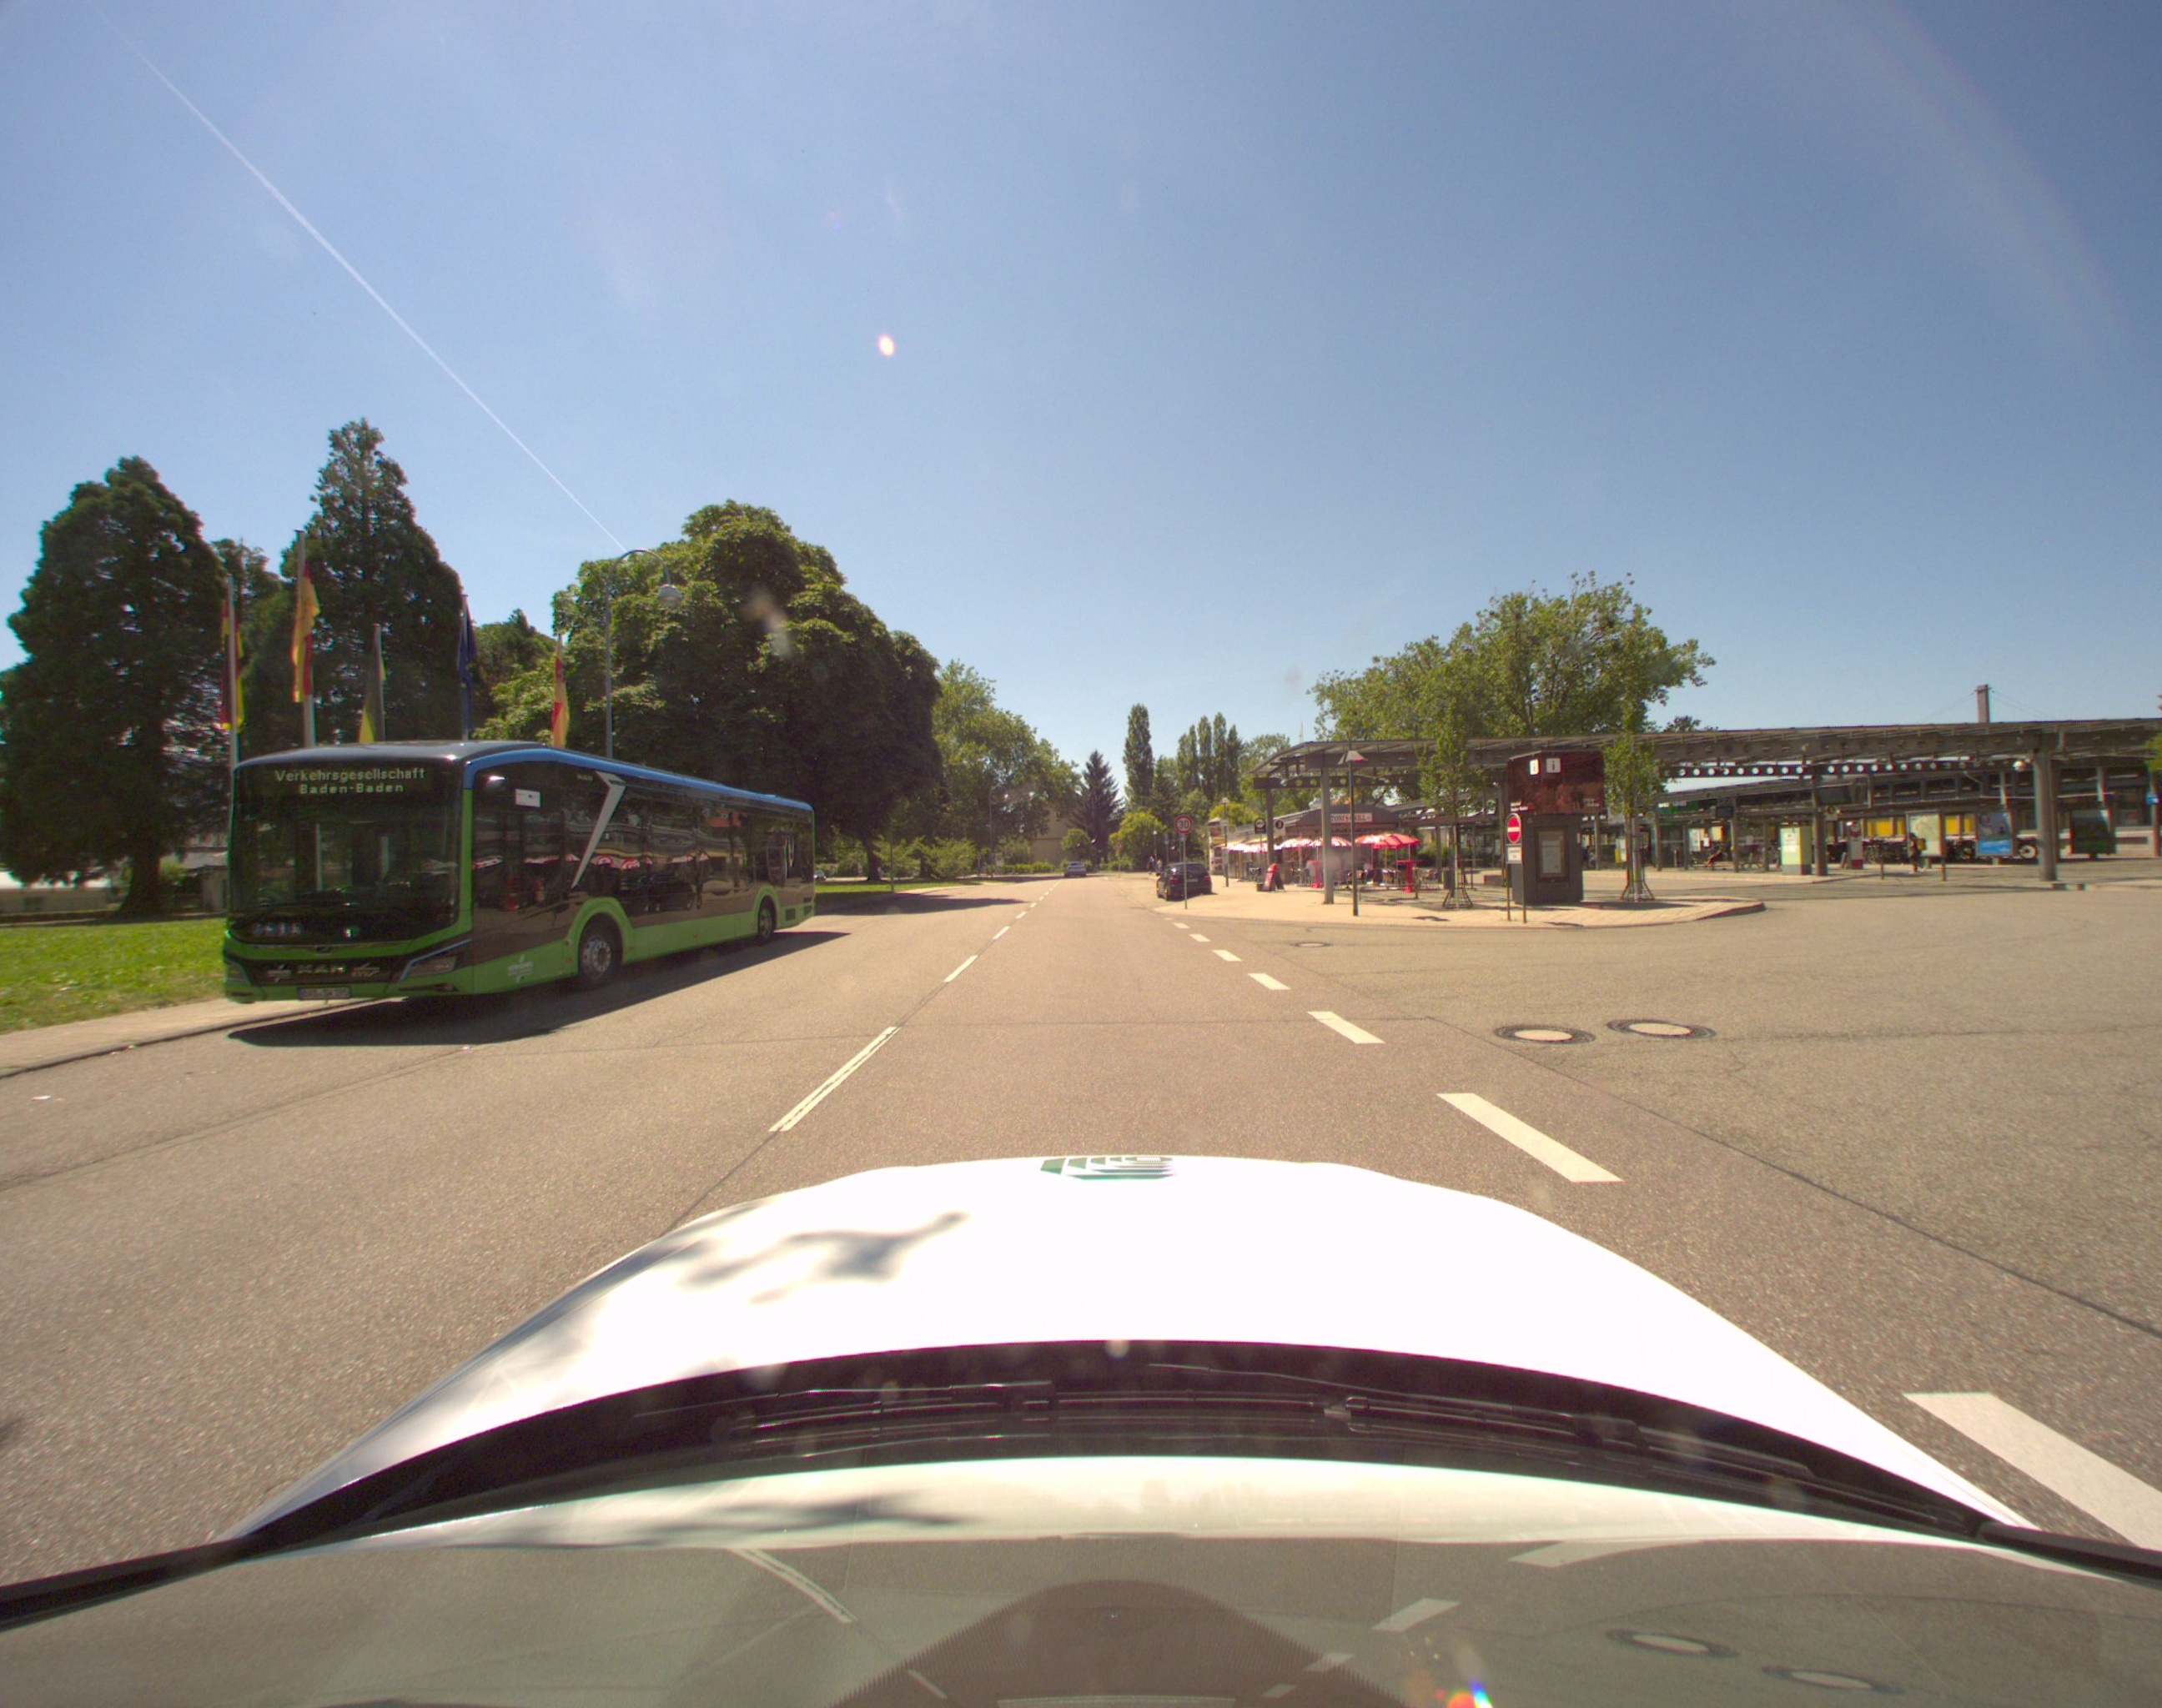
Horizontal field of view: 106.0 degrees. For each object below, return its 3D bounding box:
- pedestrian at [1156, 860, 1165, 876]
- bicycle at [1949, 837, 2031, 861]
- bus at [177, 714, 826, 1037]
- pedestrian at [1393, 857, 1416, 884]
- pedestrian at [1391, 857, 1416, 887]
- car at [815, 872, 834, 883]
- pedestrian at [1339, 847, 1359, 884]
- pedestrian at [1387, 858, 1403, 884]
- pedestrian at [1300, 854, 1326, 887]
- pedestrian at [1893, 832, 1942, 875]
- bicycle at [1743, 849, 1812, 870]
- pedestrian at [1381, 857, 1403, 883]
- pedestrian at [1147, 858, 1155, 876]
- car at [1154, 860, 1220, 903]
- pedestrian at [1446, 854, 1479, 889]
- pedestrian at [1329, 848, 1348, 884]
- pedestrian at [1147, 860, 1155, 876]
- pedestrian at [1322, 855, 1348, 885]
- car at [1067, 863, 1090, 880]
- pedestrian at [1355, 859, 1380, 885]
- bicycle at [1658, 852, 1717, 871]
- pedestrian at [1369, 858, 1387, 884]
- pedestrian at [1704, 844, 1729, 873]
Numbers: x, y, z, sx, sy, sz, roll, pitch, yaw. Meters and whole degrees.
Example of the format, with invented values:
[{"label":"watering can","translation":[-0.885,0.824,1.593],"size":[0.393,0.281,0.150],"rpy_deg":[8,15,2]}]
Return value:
[{"label":"pedestrian","translation":[8.608,1.529,88.621],"size":[0.713,1.650,0.755],"rpy_deg":[-2,-3,28]},{"label":"bicycle","translation":[41.740,-0.224,37.416],"size":[2.780,1.004,0.966],"rpy_deg":[1,-2,-3]},{"label":"bus","translation":[-7.957,0.264,14.661],"size":[2.800,3.283,12.421],"rpy_deg":[-1,0,0]},{"label":"pedestrian","translation":[14.577,0.731,36.746],"size":[0.756,1.205,0.737],"rpy_deg":[1,-2,0]},{"label":"pedestrian","translation":[13.053,0.716,32.988],"size":[0.683,1.161,0.896],"rpy_deg":[-1,-1,4]},{"label":"car","translation":[-34.493,3.172,109.607],"size":[1.548,1.411,3.794],"rpy_deg":[-2,-1,-6]},{"label":"pedestrian","translation":[12.801,0.574,38.906],"size":[0.684,1.738,0.707],"rpy_deg":[-1,-1,0]},{"label":"pedestrian","translation":[15.012,0.812,38.940],"size":[0.650,1.205,0.594],"rpy_deg":[0,-2,15]},{"label":"pedestrian","translation":[10.106,0.728,35.479],"size":[0.899,1.418,0.680],"rpy_deg":[-1,-1,-38]},{"label":"pedestrian","translation":[31.688,-0.020,30.872],"size":[0.918,1.590,0.858],"rpy_deg":[-2,-1,4]},{"label":"bicycle","translation":[34.126,0.270,39.897],"size":[2.780,1.004,0.810],"rpy_deg":[1,-2,-3]},{"label":"pedestrian","translation":[14.523,0.763,38.012],"size":[0.756,1.205,0.737],"rpy_deg":[1,-2,0]},{"label":"pedestrian","translation":[8.059,1.500,94.040],"size":[0.851,1.965,0.806],"rpy_deg":[-1,-1,1]},{"label":"car","translation":[4.221,1.074,33.196],"size":[1.921,1.460,4.722],"rpy_deg":[-4,-1,-1]},{"label":"pedestrian","translation":[14.574,0.659,31.145],"size":[0.841,1.277,0.896],"rpy_deg":[-1,-1,4]},{"label":"pedestrian","translation":[12.795,0.590,40.464],"size":[0.684,1.738,0.707],"rpy_deg":[-1,-1,0]},{"label":"pedestrian","translation":[7.512,1.508,87.156],"size":[0.629,1.650,0.755],"rpy_deg":[-2,-3,28]},{"label":"pedestrian","translation":[11.554,0.724,37.091],"size":[0.898,1.312,0.681],"rpy_deg":[-1,-1,-35]},{"label":"car","translation":[-0.219,1.760,83.515],"size":[1.974,1.627,4.783],"rpy_deg":[-2,0,4]},{"label":"pedestrian","translation":[13.014,0.814,37.009],"size":[0.898,1.161,0.681],"rpy_deg":[-1,-1,-35]},{"label":"bicycle","translation":[34.104,0.419,45.794],"size":[2.780,1.004,0.810],"rpy_deg":[1,-2,-3]},{"label":"pedestrian","translation":[14.197,0.803,38.936],"size":[0.653,1.205,0.592],"rpy_deg":[1,-2,-1]},{"label":"pedestrian","translation":[31.380,0.220,40.217],"size":[0.623,1.395,0.676],"rpy_deg":[-3,-2,-1]}]
